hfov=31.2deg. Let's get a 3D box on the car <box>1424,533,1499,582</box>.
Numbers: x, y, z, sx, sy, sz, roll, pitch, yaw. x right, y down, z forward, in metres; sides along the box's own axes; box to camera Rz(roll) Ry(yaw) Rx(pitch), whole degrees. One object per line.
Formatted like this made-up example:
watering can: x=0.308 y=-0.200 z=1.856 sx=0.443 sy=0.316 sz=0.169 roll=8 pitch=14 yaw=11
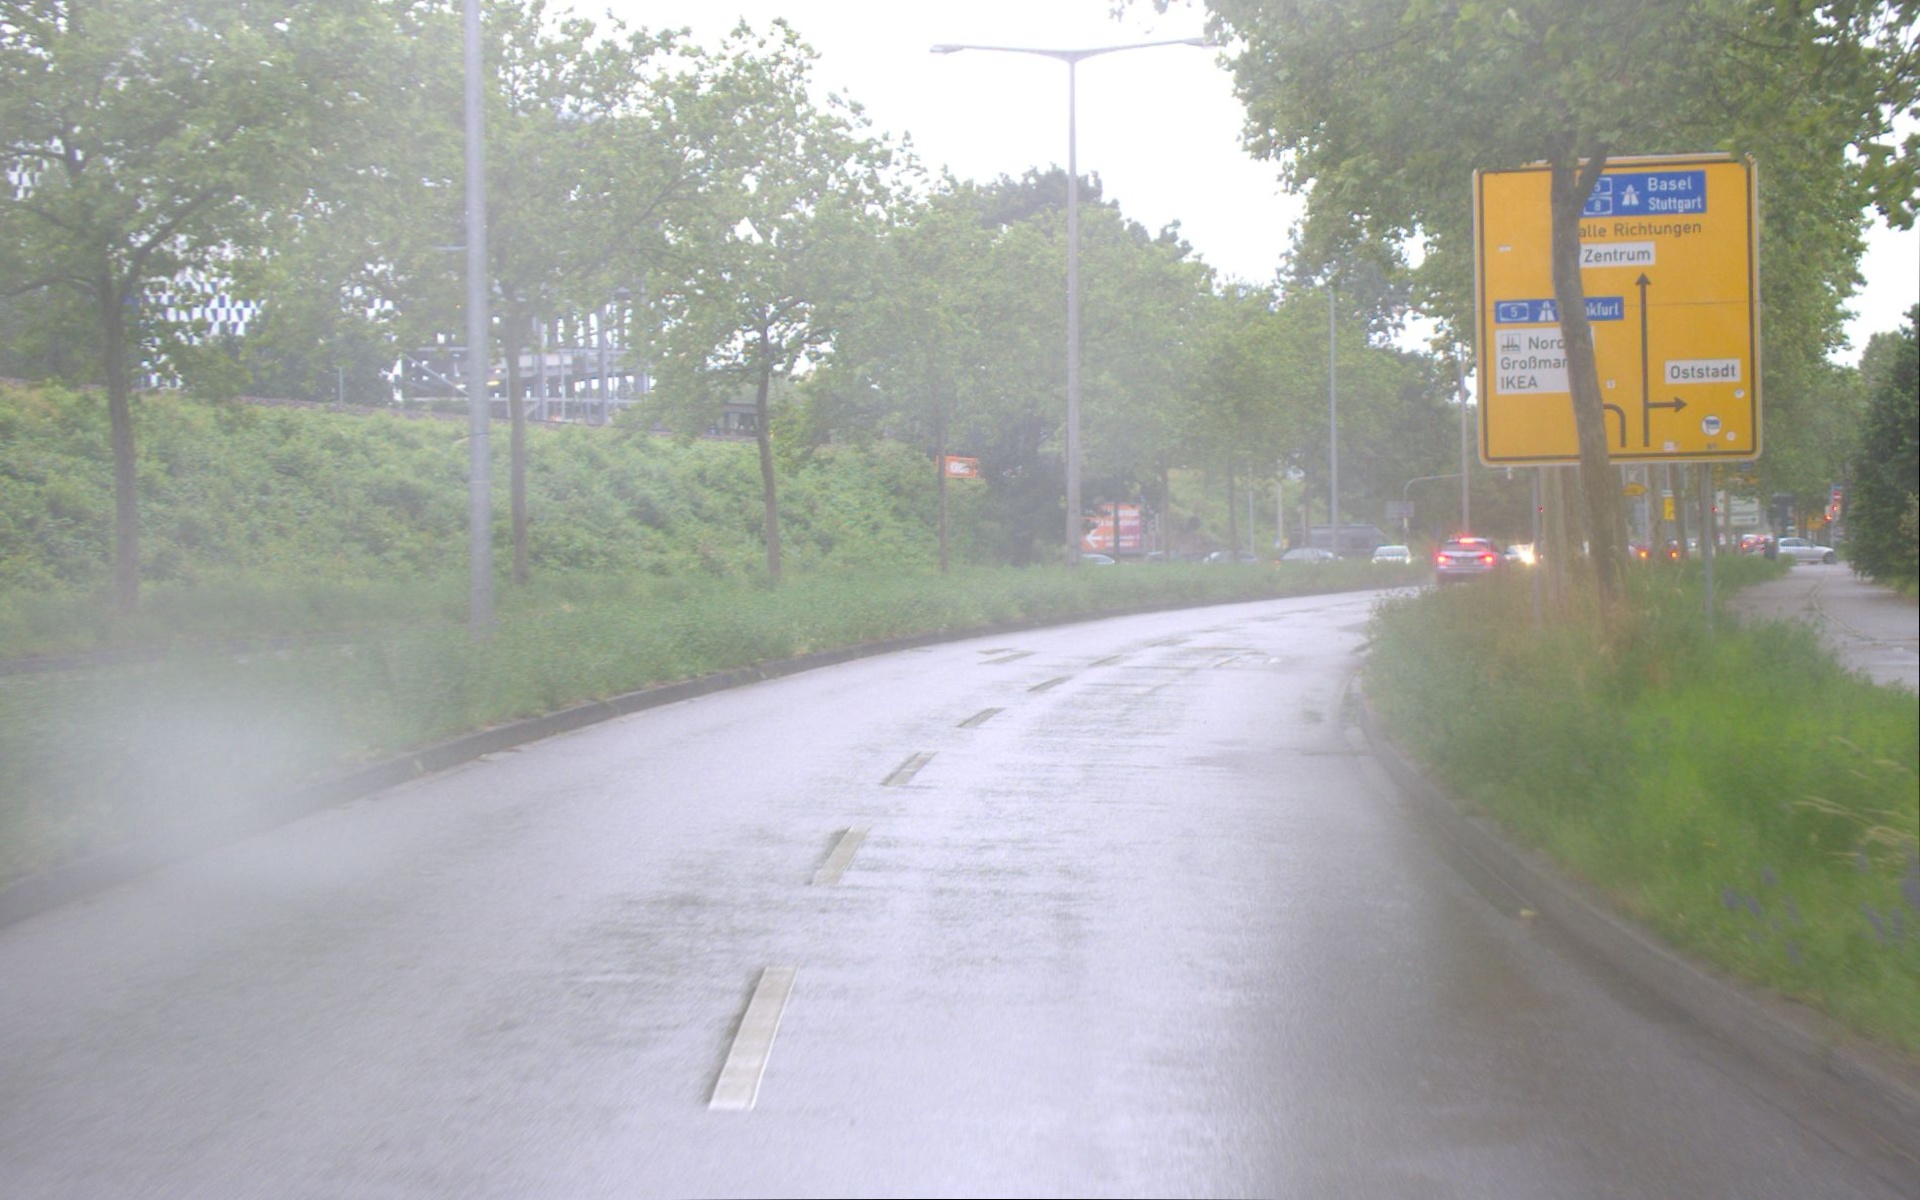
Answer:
car: x=14.925 y=-1.262 z=102.087 sx=1.691 sy=1.428 sz=4.571 roll=0 pitch=1 yaw=15
